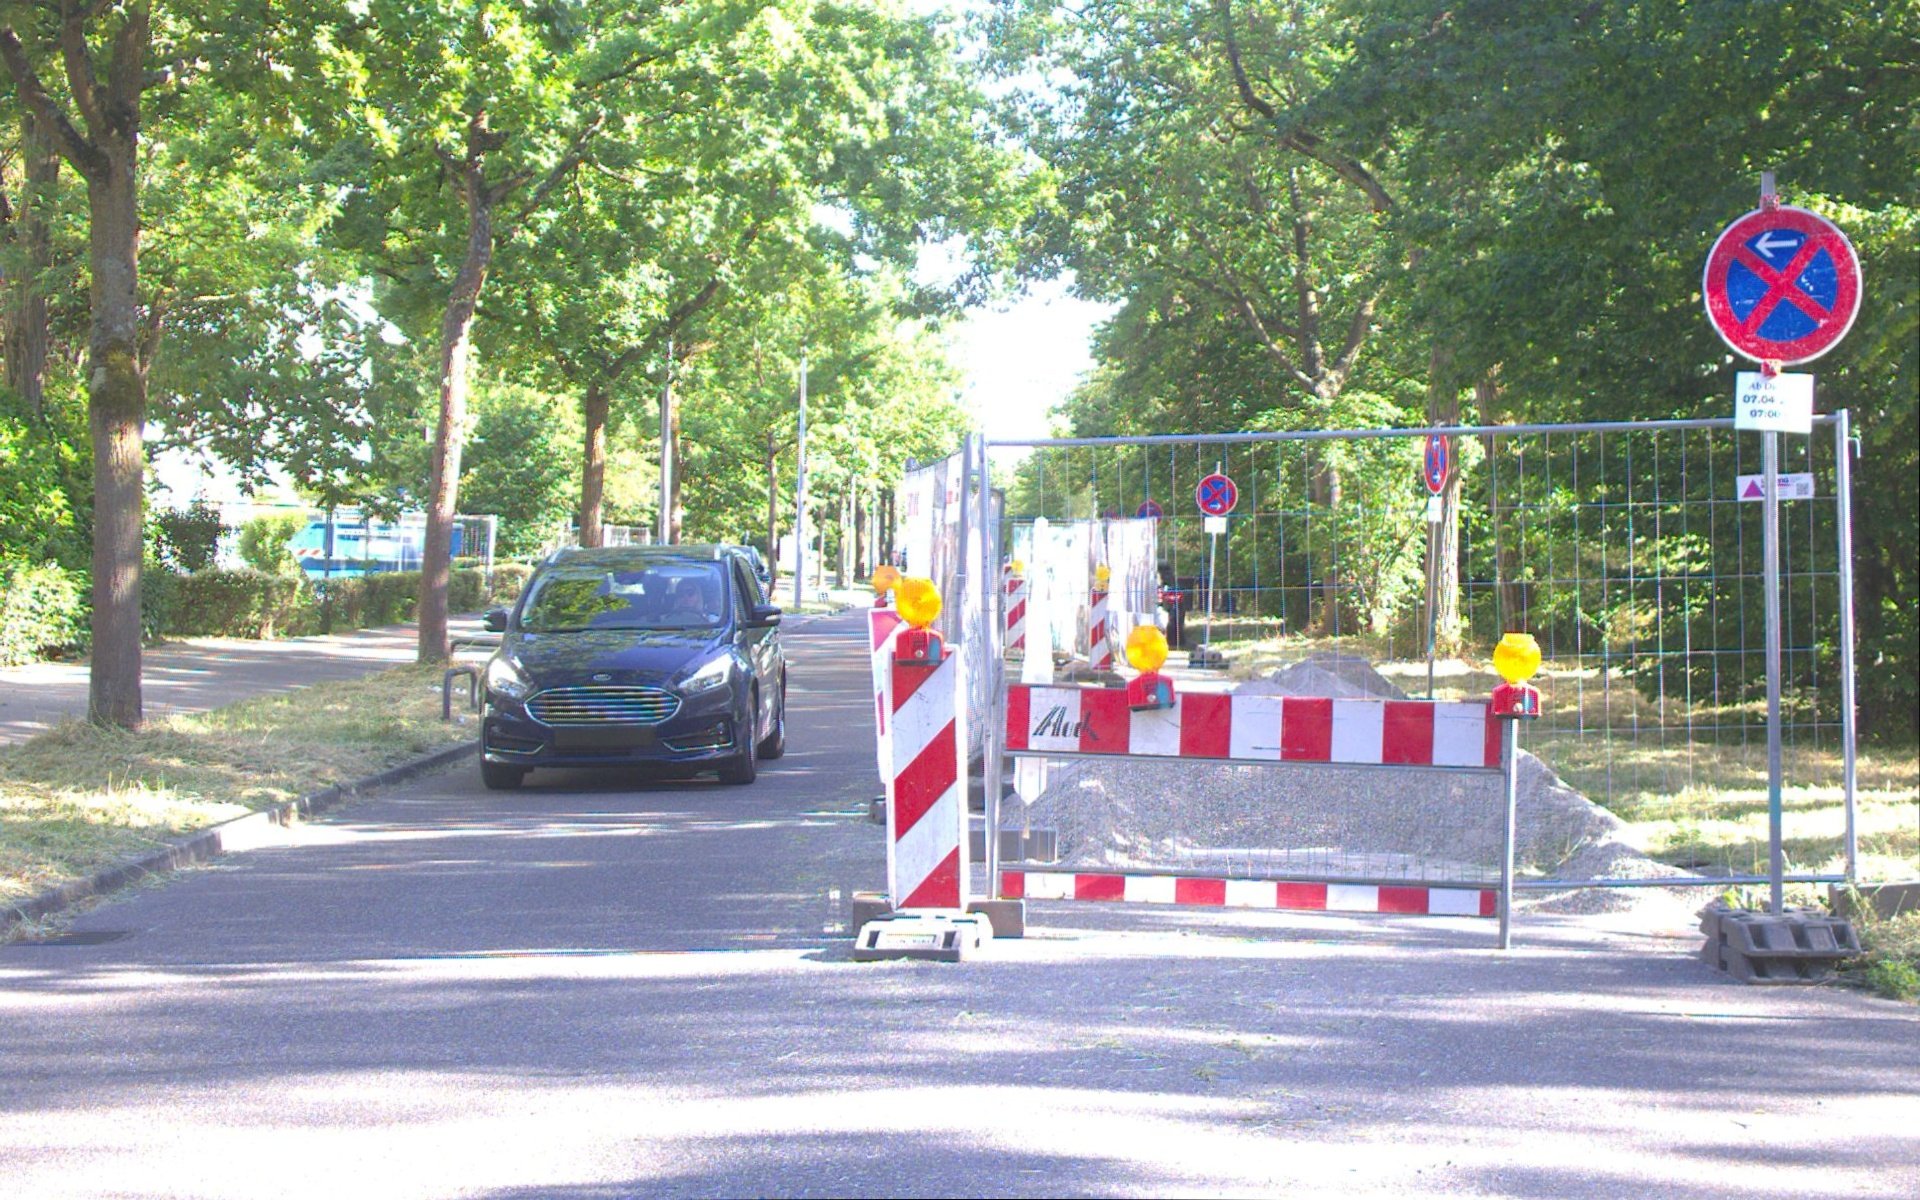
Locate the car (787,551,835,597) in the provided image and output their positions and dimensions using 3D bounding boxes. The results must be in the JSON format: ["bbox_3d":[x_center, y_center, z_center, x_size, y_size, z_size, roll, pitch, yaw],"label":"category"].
[{"bbox_3d":[-4.466,-0.778,103.246,1.361,1.298,3.481,2,0,-2],"label":"car"}]

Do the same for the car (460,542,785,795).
[{"bbox_3d":[-2.318,0.415,24.682,1.821,1.619,4.492,-1,1,1],"label":"car"}]

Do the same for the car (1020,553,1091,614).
[{"bbox_3d":[2.139,-0.369,77.616,1.361,1.298,3.481,2,0,-2],"label":"car"}]

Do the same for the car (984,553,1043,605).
[{"bbox_3d":[1.397,-0.553,90.597,1.361,1.298,3.481,2,0,-2],"label":"car"}]

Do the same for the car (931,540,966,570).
[{"bbox_3d":[-0.648,-2.538,192.459,1.710,1.579,4.000,2,0,-3],"label":"car"}]
